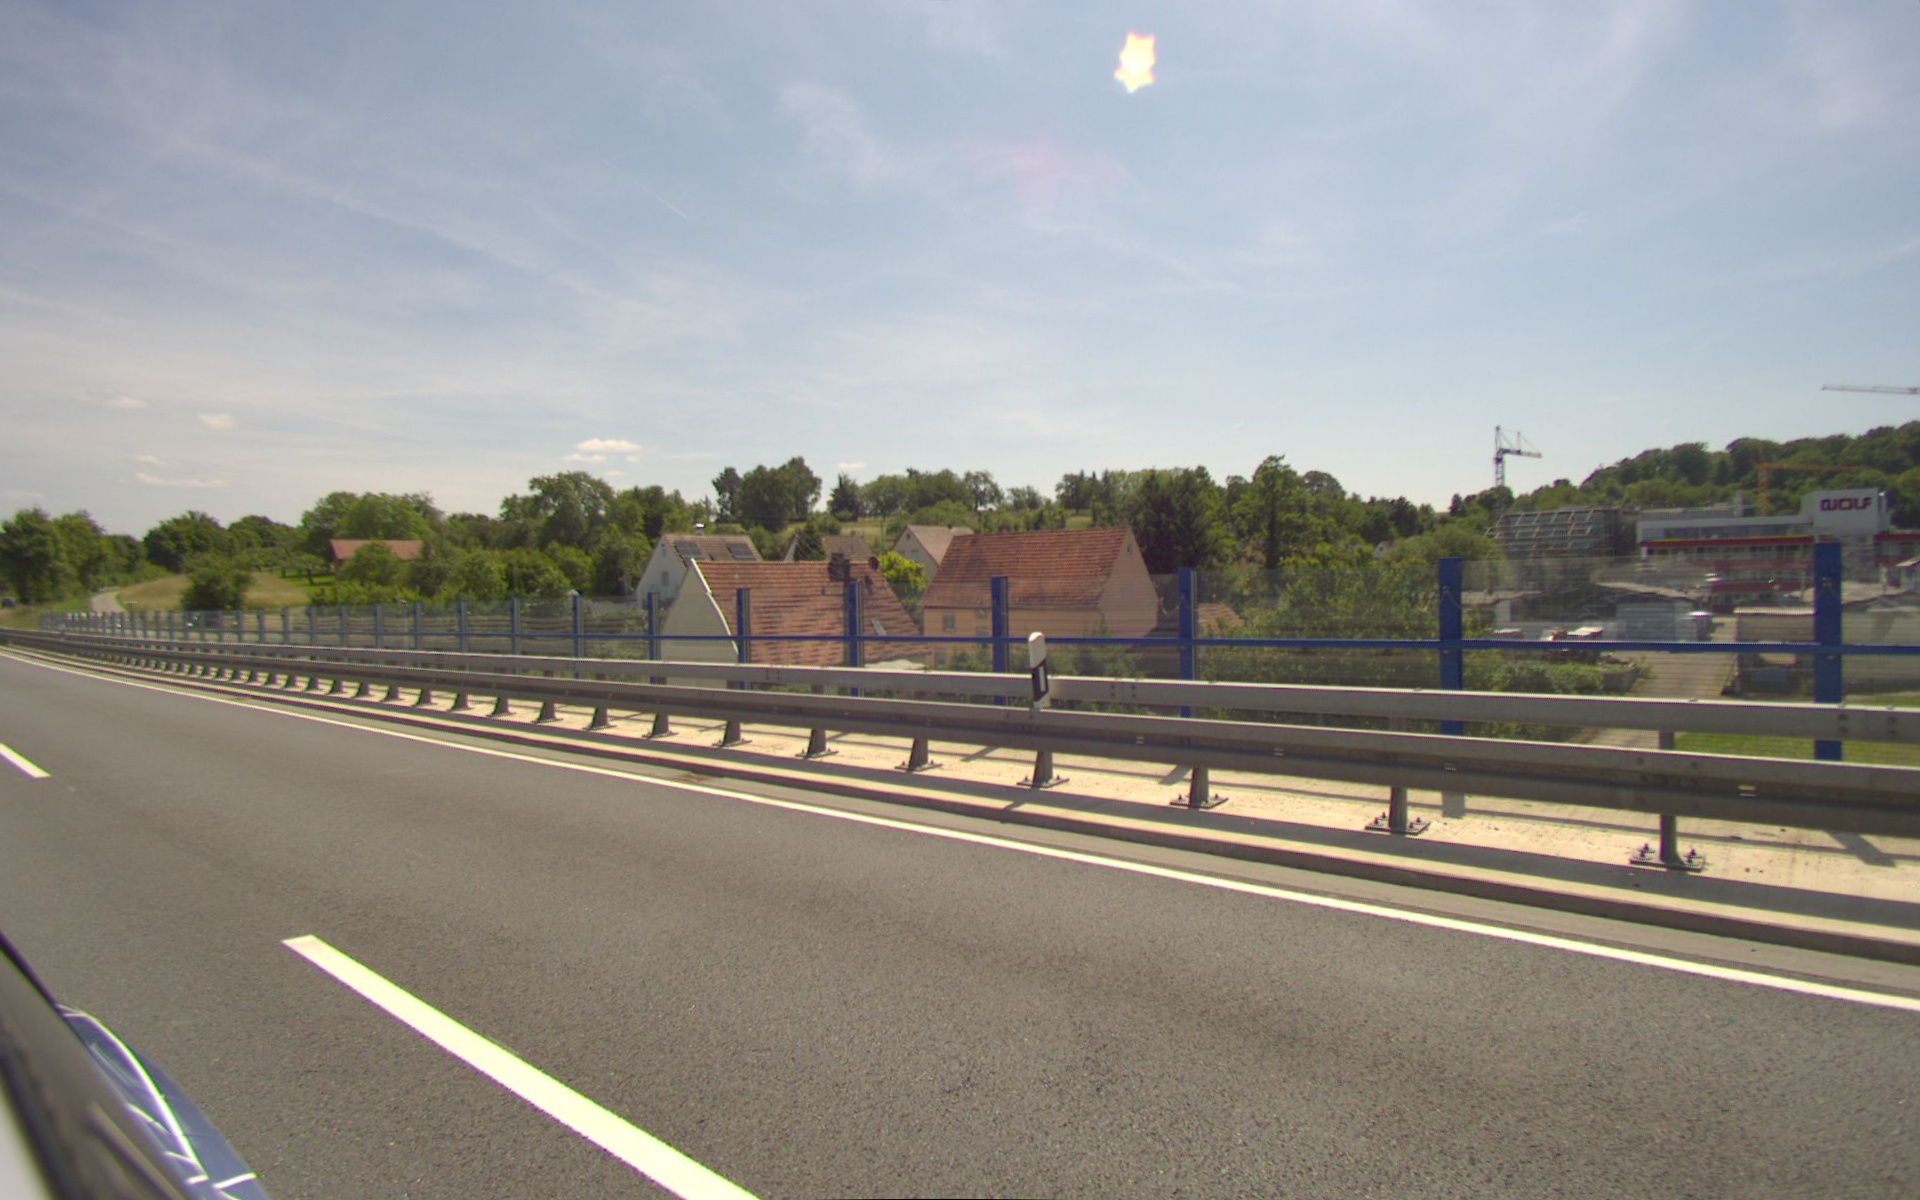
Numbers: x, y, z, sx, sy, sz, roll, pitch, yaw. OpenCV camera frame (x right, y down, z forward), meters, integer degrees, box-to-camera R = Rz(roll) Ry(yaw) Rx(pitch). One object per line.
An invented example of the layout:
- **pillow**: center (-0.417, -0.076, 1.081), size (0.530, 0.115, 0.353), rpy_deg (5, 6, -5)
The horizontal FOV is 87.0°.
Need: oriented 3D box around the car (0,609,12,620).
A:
- **car**: center (-149.922, 2.251, 158.594), size (1.784, 1.601, 4.385), rpy_deg (1, -1, -42)
